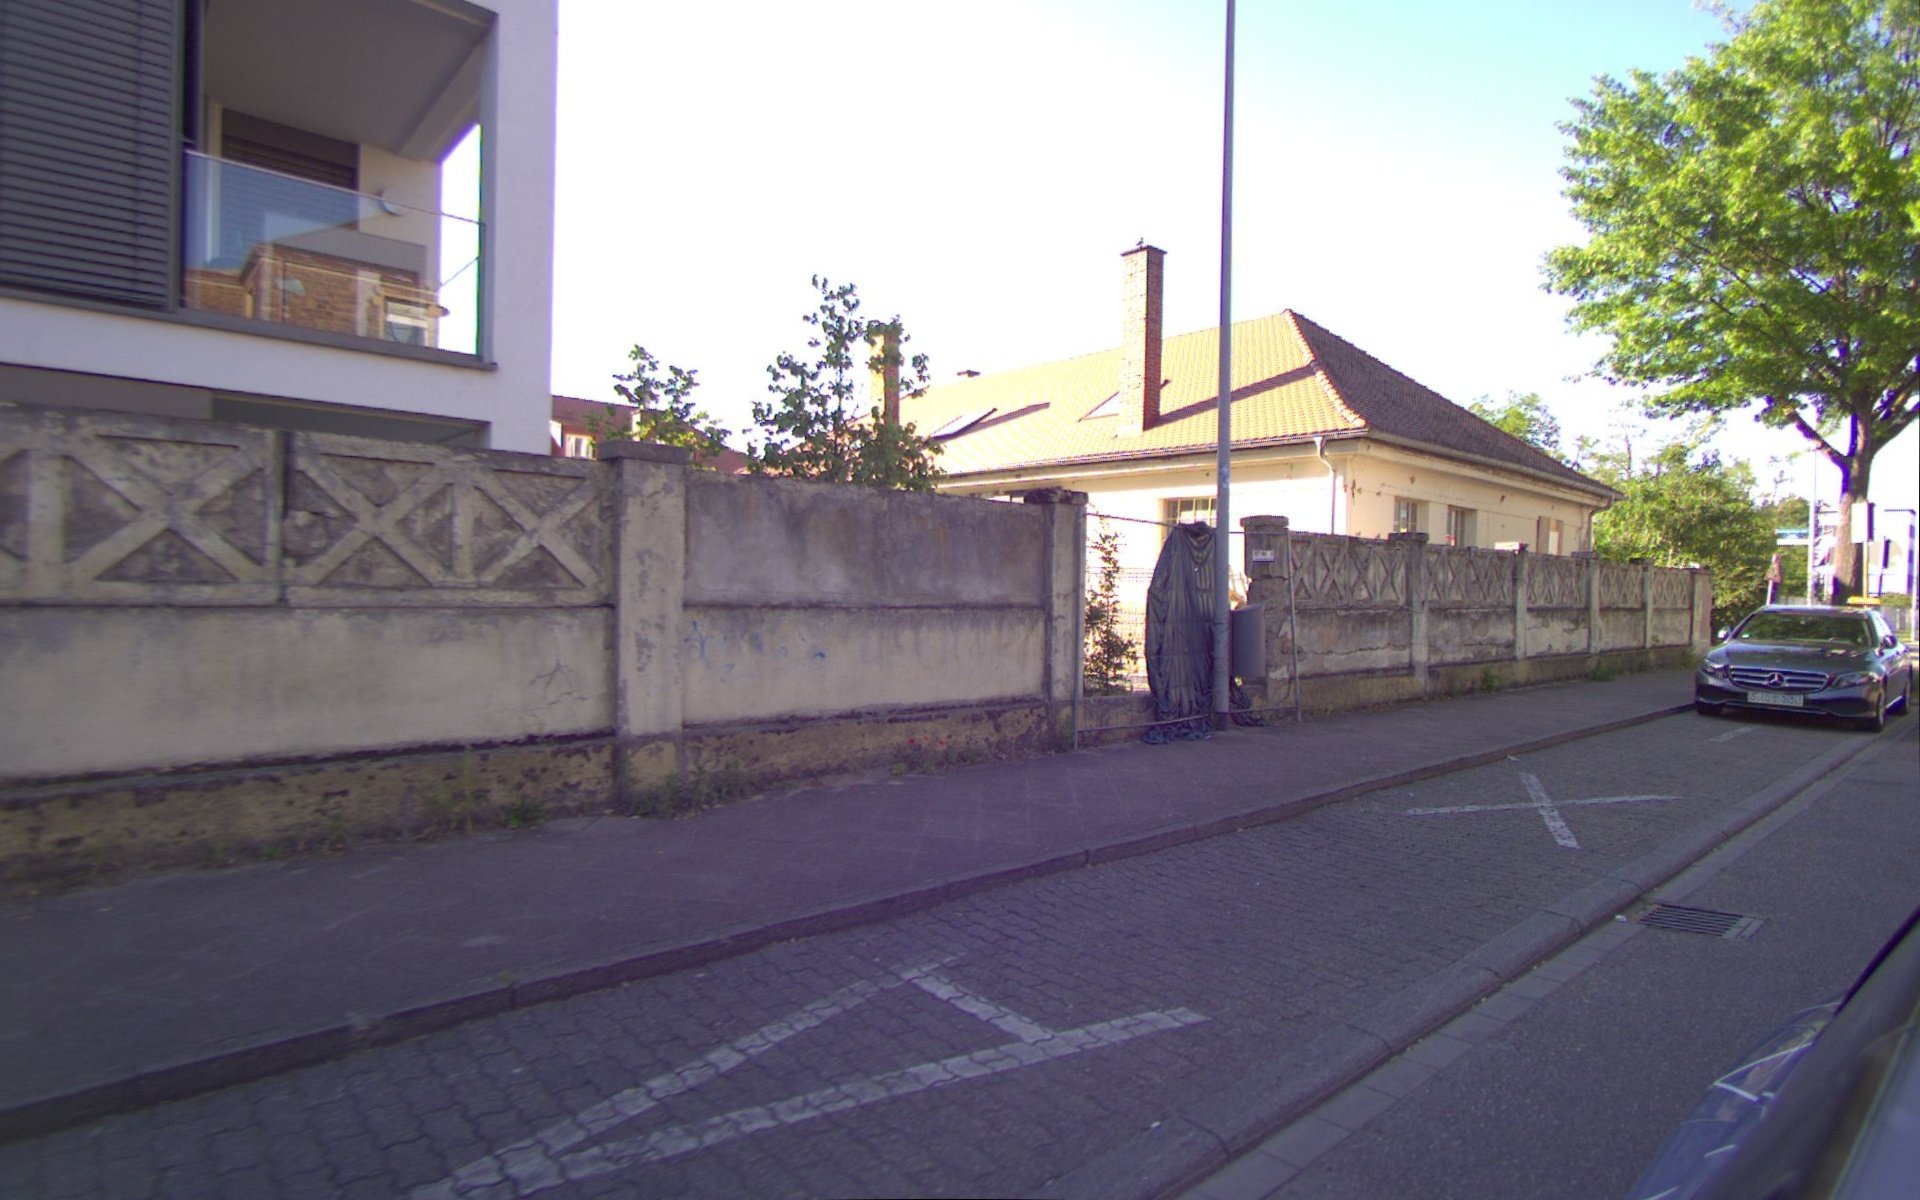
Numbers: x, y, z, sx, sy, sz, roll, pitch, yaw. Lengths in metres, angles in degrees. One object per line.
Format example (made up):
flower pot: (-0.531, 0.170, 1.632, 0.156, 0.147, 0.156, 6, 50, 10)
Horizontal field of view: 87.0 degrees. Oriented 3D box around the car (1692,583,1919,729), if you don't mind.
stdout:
car: (11.454, 0.637, 13.452, 4.223, 1.621, 1.886, 1, 1, -41)
